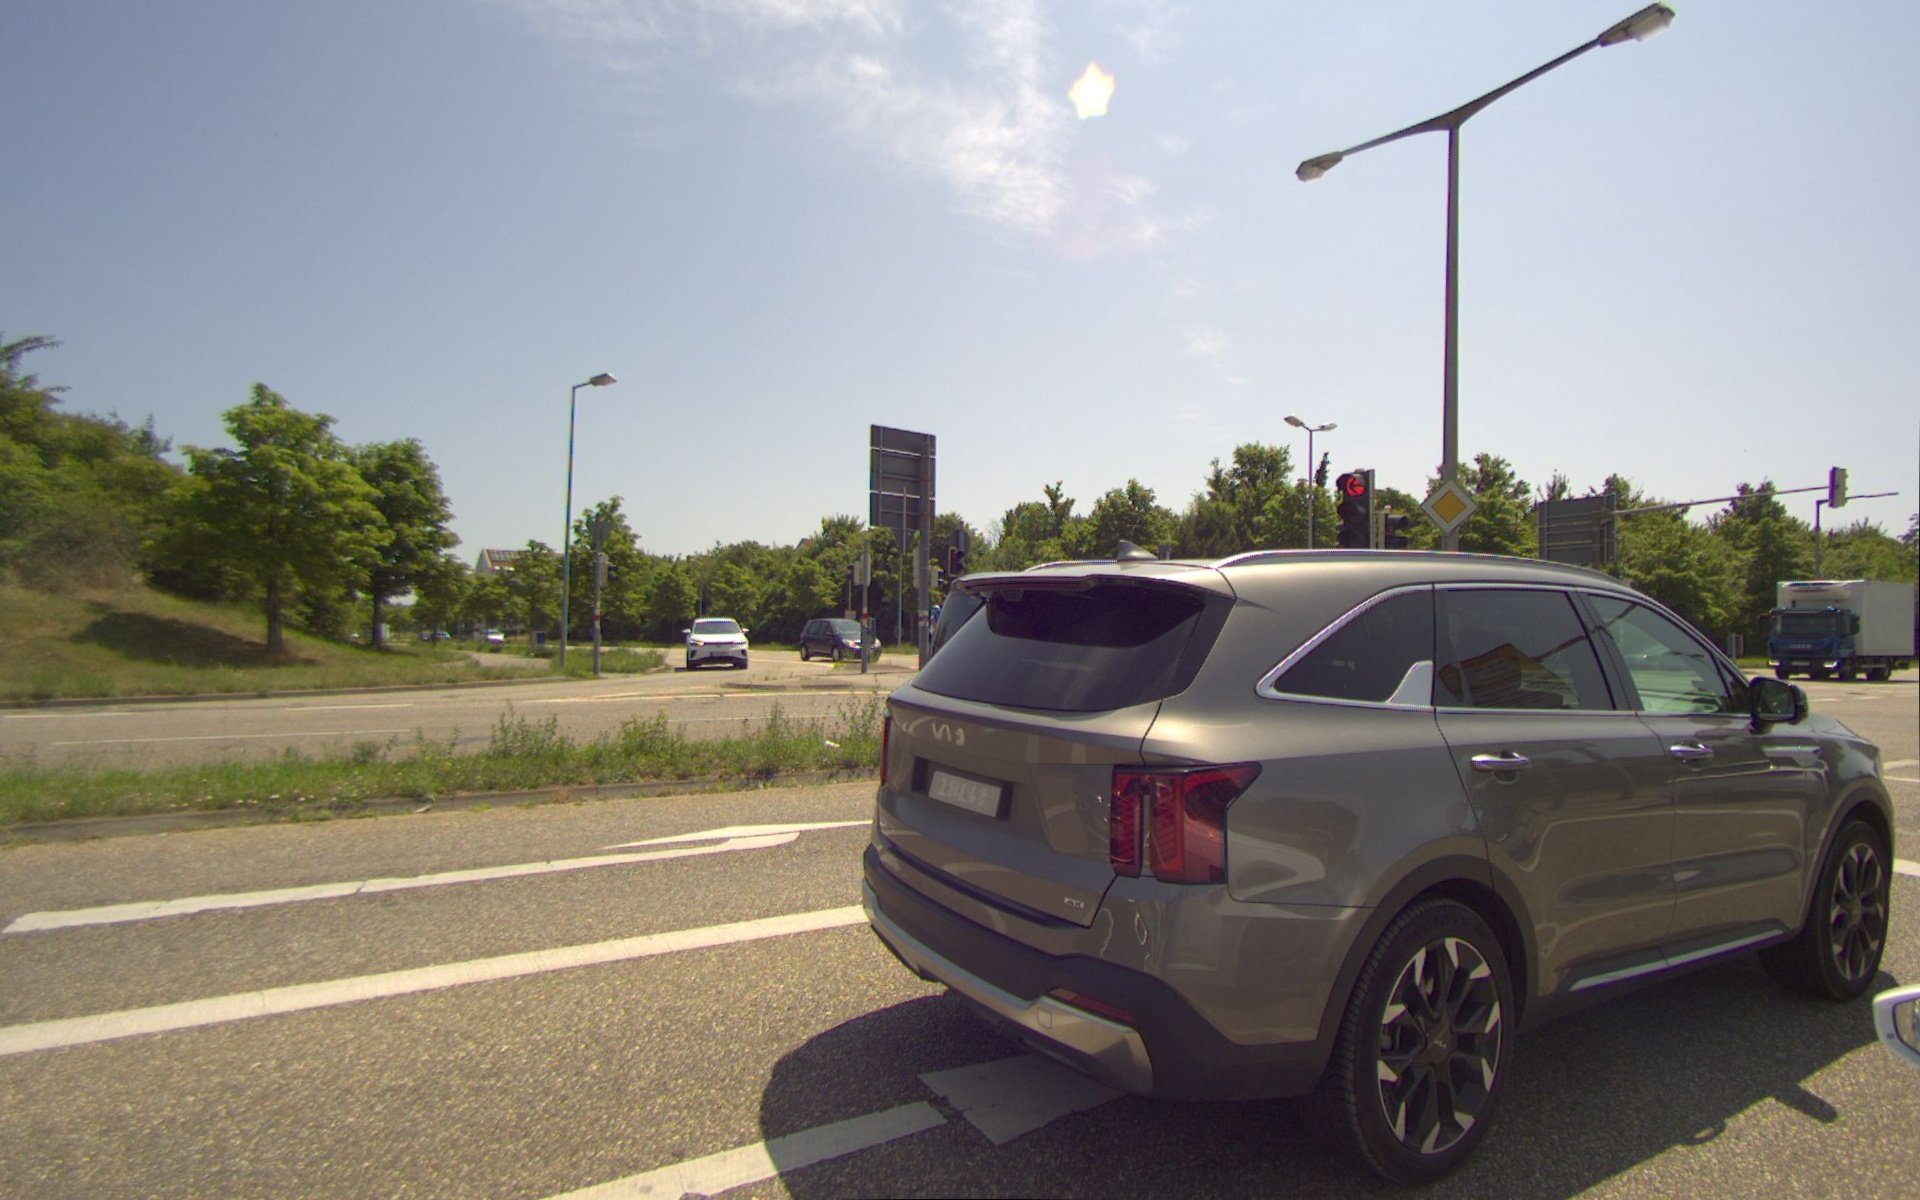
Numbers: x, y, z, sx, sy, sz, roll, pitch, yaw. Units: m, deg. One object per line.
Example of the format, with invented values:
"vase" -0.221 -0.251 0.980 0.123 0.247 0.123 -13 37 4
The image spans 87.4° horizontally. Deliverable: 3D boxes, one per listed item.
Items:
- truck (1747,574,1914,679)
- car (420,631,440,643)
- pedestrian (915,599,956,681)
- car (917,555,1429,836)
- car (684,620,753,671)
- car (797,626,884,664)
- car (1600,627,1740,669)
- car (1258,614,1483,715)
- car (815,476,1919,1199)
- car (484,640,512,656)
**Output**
"truck" 32.694 1.024 37.644 7.185 3.618 2.673 2 -1 -31
"car" -64.527 4.476 122.275 1.617 1.379 3.960 2 -2 -35
"pedestrian" -0.542 0.870 22.064 0.779 1.759 0.582 1 -1 -10
"car" 1.917 0.698 8.515 4.274 1.850 1.721 2 -1 -33
"car" -7.821 1.427 32.271 1.849 1.521 4.294 1 -2 -17
"car" -4.555 1.652 37.912 1.685 1.353 3.963 2 -2 -33
"car" 31.635 2.114 44.898 4.826 1.754 1.830 1 -1 7
"car" 7.655 1.146 18.620 4.173 1.685 1.699 2 -2 -30
"car" 1.916 0.678 3.994 4.591 1.684 1.795 2 -2 -31
"car" -43.207 4.492 93.889 1.618 1.379 3.959 2 -2 -36
